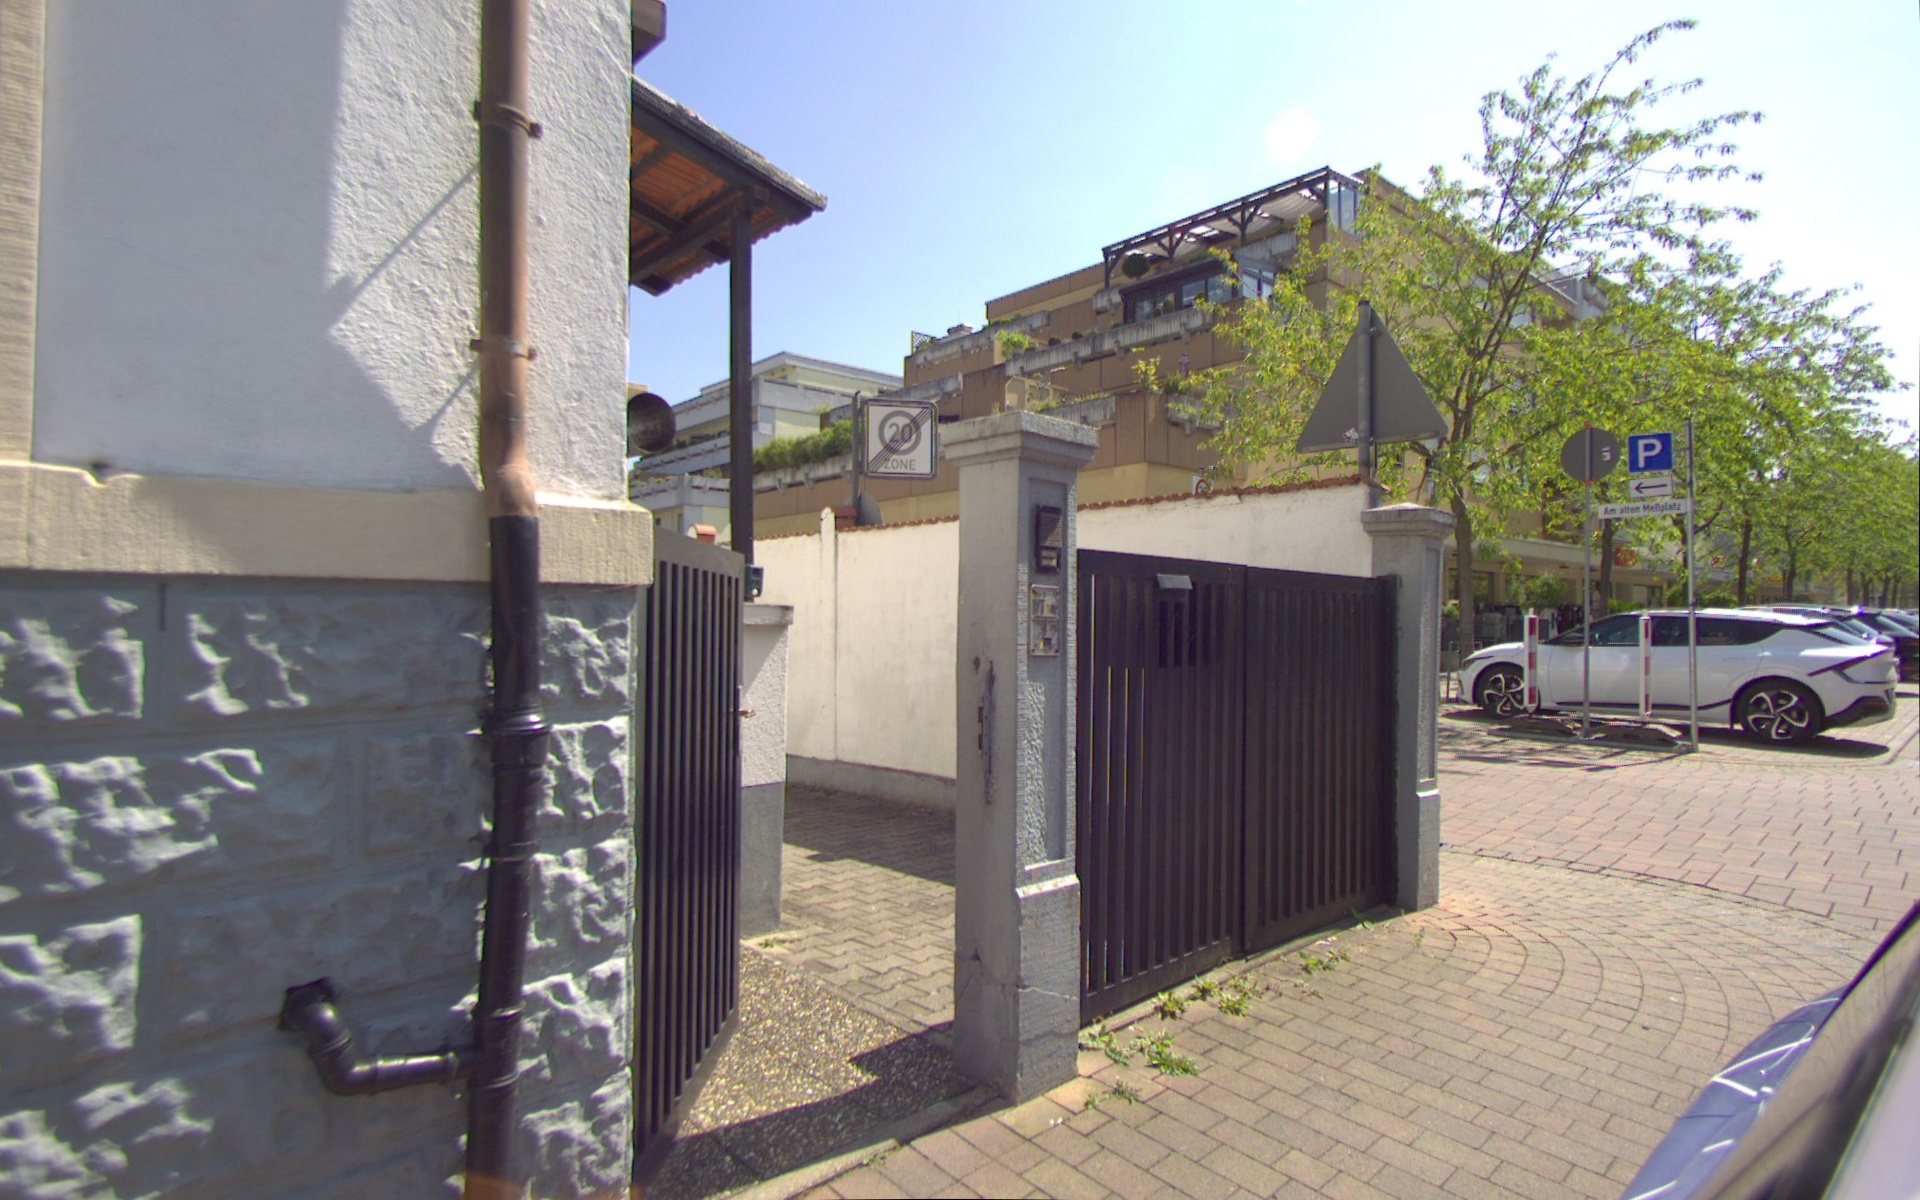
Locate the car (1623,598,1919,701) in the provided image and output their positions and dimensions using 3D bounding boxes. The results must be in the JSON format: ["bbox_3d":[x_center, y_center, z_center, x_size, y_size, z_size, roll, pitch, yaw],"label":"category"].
[{"bbox_3d":[14.333,0.783,17.995,1.793,1.553,3.948,1,0,-43],"label":"car"}]

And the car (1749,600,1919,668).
[{"bbox_3d":[23.432,0.851,26.619,1.653,1.632,4.031,1,0,-43],"label":"car"}]

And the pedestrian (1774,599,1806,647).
[{"bbox_3d":[30.897,0.854,37.692,0.621,1.796,0.685,-1,-2,10],"label":"pedestrian"}]

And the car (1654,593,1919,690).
[{"bbox_3d":[16.364,0.733,19.819,1.967,1.702,4.282,1,-1,-44],"label":"car"}]

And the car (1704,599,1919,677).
[{"bbox_3d":[20.085,0.820,23.268,1.817,1.608,4.517,1,0,-40],"label":"car"}]

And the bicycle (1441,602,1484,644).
[{"bbox_3d":[14.345,0.649,28.875,1.743,1.138,0.413,0,-2,-41],"label":"bicycle"}]

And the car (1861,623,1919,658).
[{"bbox_3d":[43.861,1.816,45.681,1.775,1.563,4.580,1,-2,-41],"label":"car"}]

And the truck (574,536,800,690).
[{"bbox_3d":[-6.433,0.321,23.211,2.500,3.044,6.395,1,-2,-41],"label":"truck"}]

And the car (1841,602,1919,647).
[{"bbox_3d":[35.879,0.924,37.880,1.727,1.638,4.248,1,0,-43],"label":"car"}]

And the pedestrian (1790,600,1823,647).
[{"bbox_3d":[32.074,0.878,38.345,0.634,1.753,0.617,-1,-2,-8],"label":"pedestrian"}]

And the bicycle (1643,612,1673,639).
[{"bbox_3d":[29.545,1.077,42.839,1.835,1.095,0.642,0,-2,-43],"label":"bicycle"}]

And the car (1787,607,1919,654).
[{"bbox_3d":[31.005,1.023,34.283,4.349,1.482,1.871,1,0,30],"label":"car"}]

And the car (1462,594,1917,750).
[{"bbox_3d":[9.054,0.753,12.891,1.758,1.596,4.447,1,0,-42],"label":"car"}]
